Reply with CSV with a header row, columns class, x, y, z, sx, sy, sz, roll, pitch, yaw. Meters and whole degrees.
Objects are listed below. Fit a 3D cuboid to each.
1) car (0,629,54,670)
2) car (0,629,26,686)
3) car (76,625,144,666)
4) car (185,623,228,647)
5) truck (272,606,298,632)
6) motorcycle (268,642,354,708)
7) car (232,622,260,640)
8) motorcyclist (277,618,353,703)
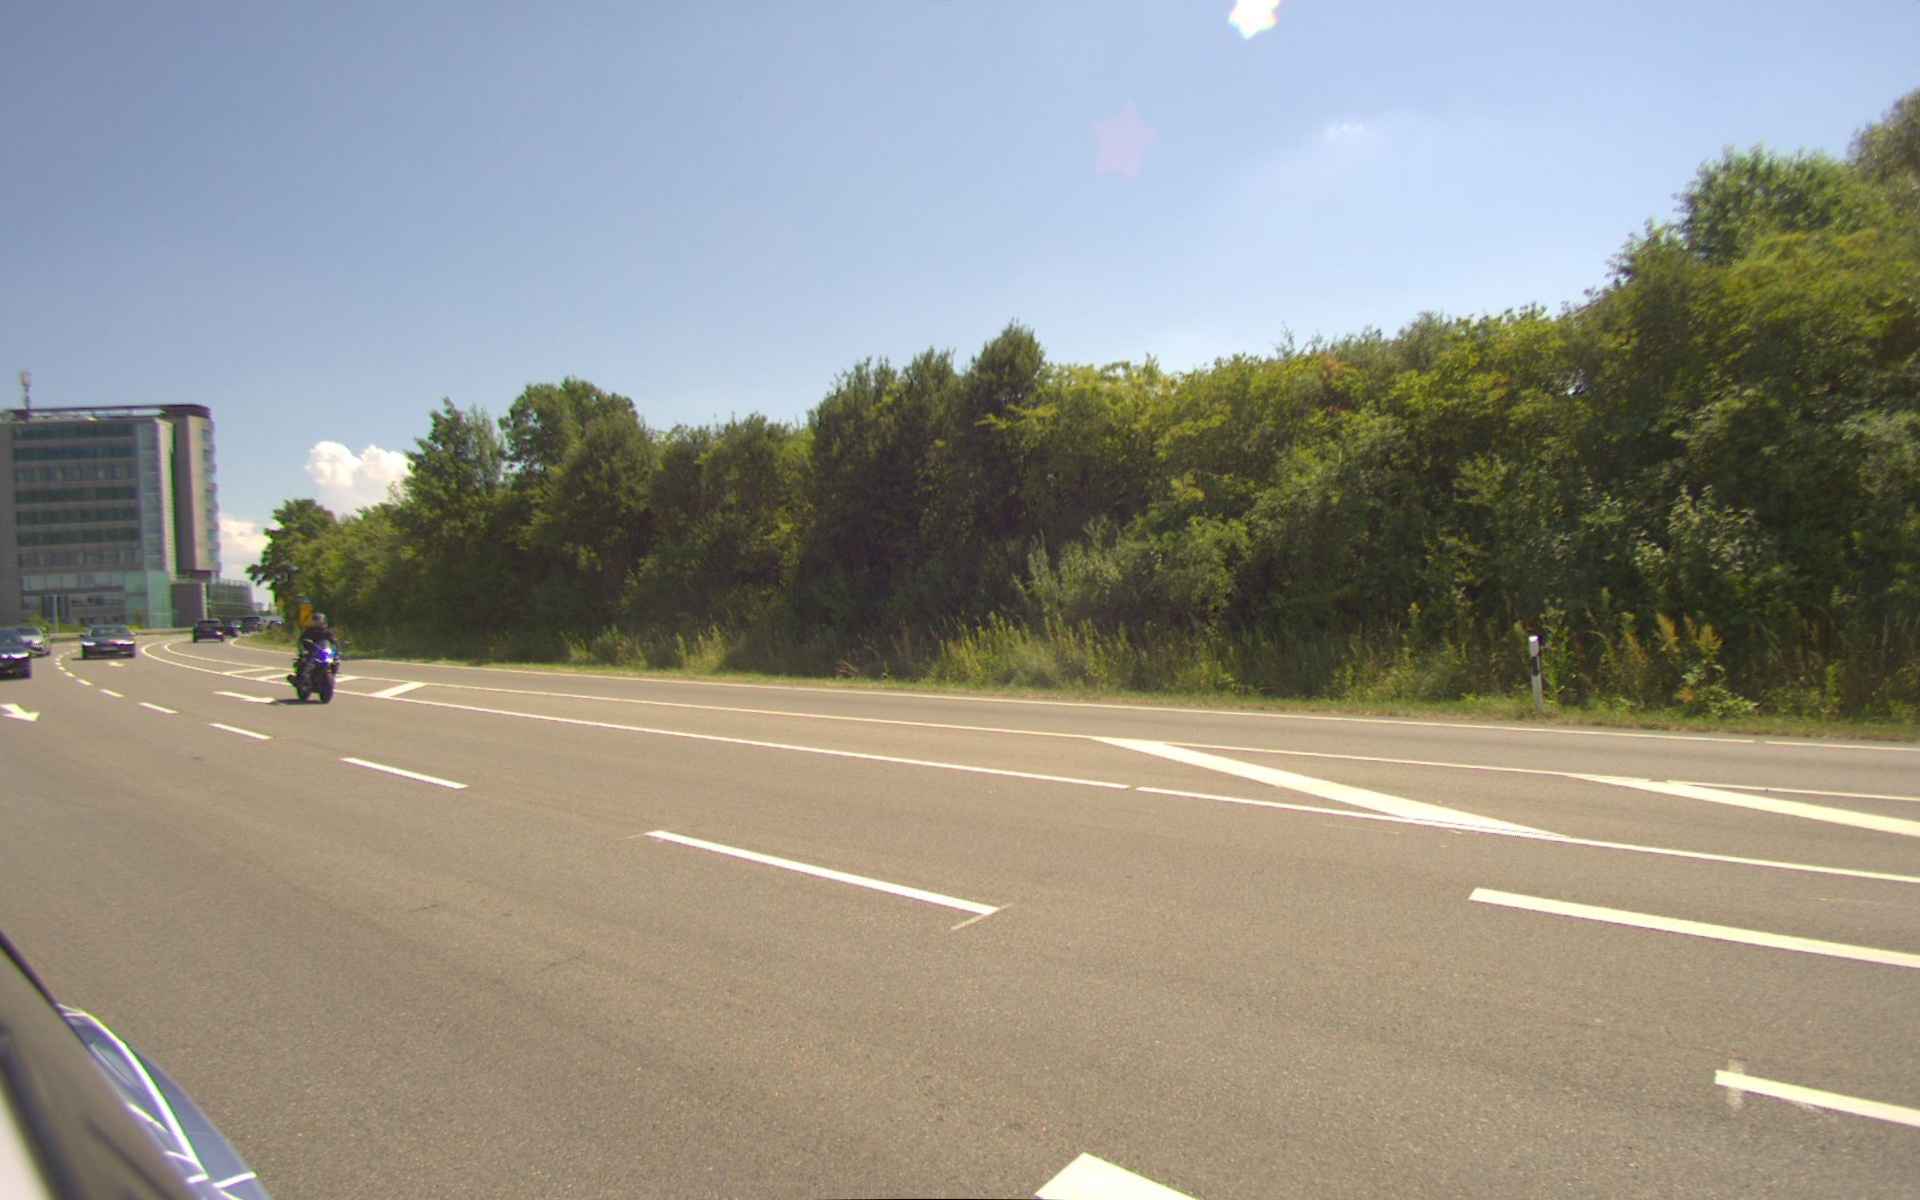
class,x,y,z,sx,sy,sz,roll,pitch,yaw
car,-44.177,2.374,47.731,1.905,1.598,4.186,-5,-1,-40
car,-27.942,1.651,28.931,1.754,1.518,4.566,-1,-1,-42
car,-37.237,1.959,44.288,2.087,1.603,4.455,-2,0,-42
car,-53.837,2.467,72.354,1.966,1.605,4.696,-1,-1,-30
truck,-95.459,2.693,143.050,2.830,3.601,9.454,-1,-1,-35
motorcycle,-12.073,1.369,18.802,2.070,1.147,0.725,-2,-2,38
car,-79.985,3.461,113.408,1.966,1.909,5.119,-1,-1,-29
motorcyclist,-11.917,1.105,18.694,1.160,1.500,0.850,-2,-2,38
